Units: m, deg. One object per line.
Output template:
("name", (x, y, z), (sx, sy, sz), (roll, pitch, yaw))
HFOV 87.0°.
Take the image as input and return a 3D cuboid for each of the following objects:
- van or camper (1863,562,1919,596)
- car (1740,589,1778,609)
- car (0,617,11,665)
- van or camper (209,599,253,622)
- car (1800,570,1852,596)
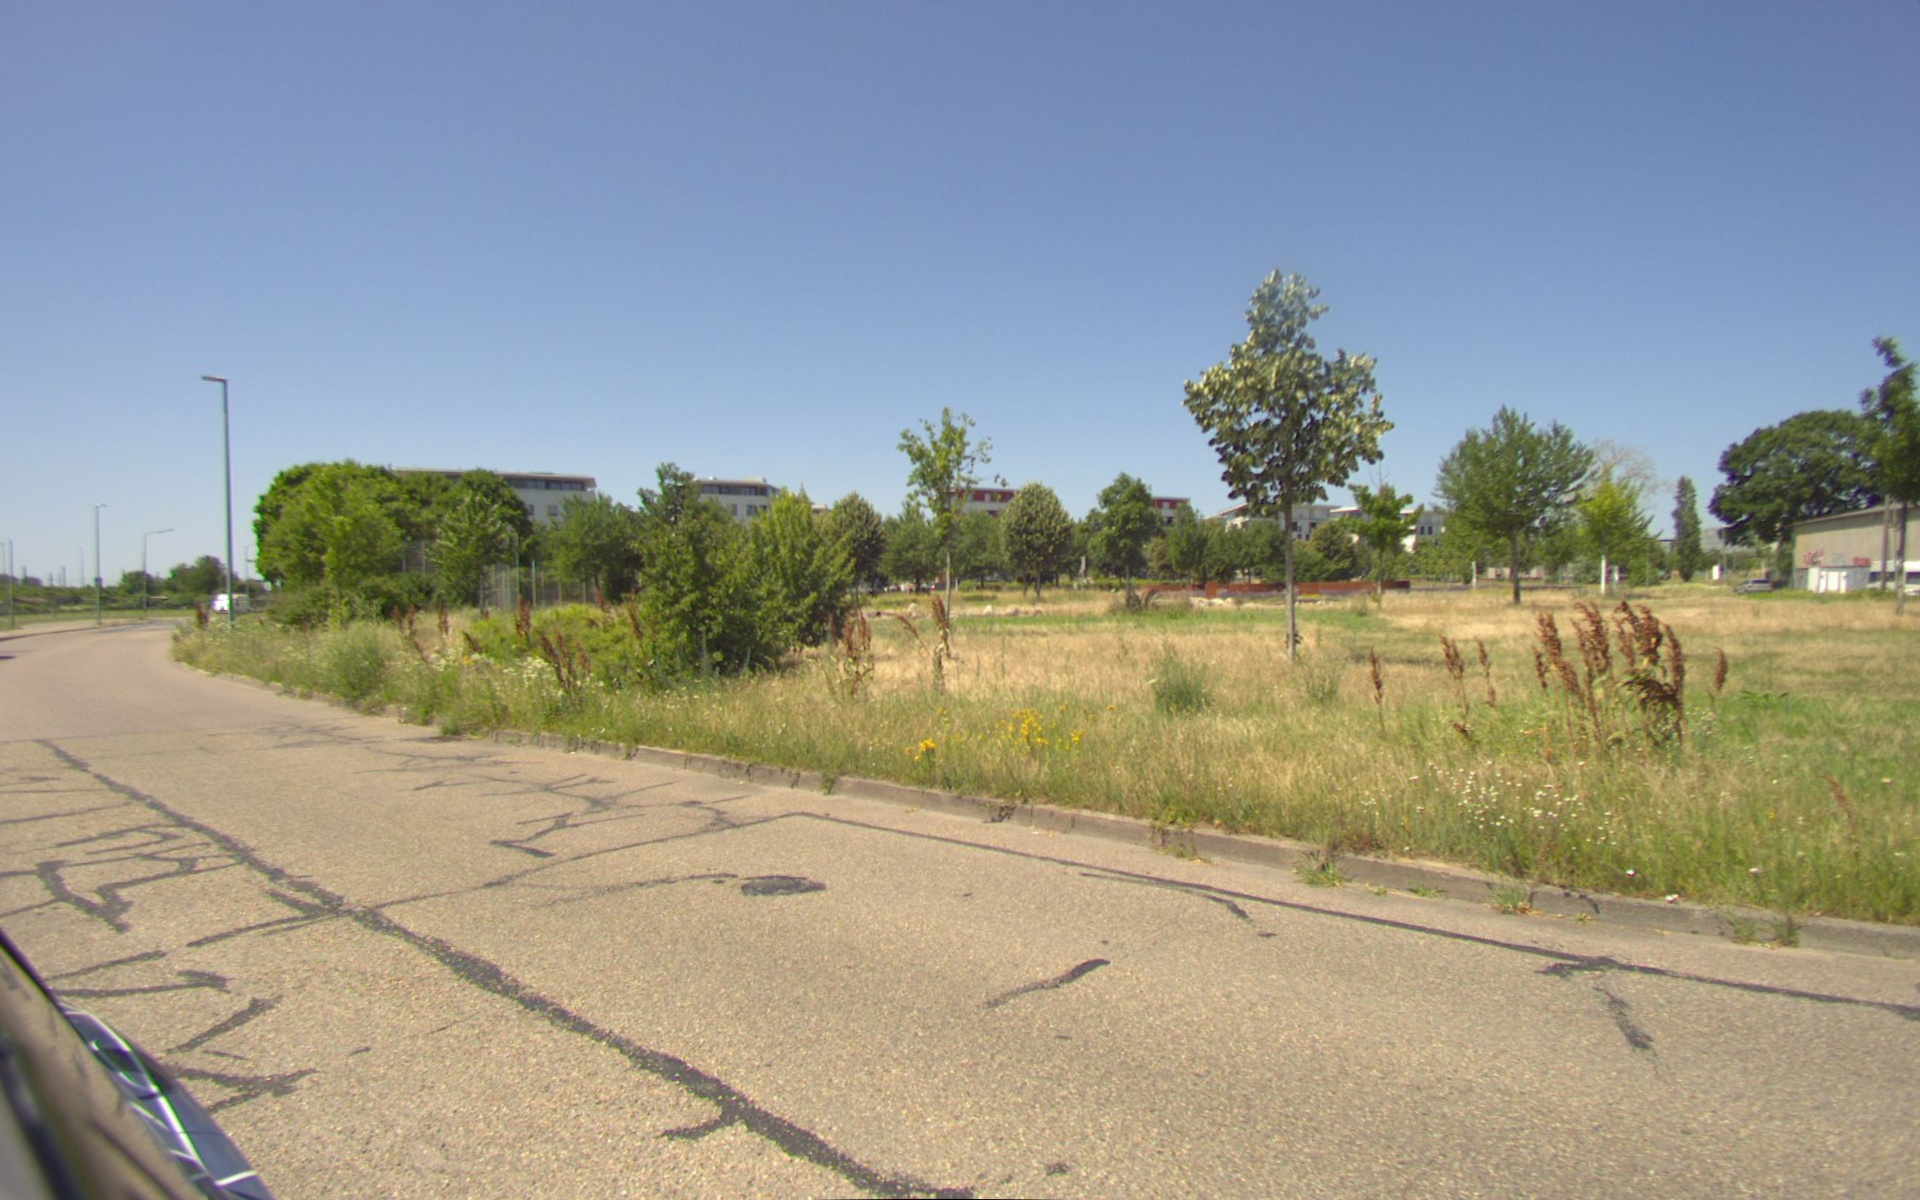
("van or camper", (55.569, -1.245, 59.347), (2.343, 1.894, 5.021), (-1, 0, 22))
("car", (67.797, -0.120, 85.876), (1.581, 1.609, 3.553), (-1, 0, 22))
("car", (-29.418, 1.256, 29.511), (1.627, 1.477, 4.172), (-1, 0, -30))
("van or camper", (-84.316, 1.223, 117.096), (2.106, 2.592, 5.883), (-1, 0, -15))
("car", (61.376, -1.218, 71.803), (1.746, 1.785, 3.553), (-1, 0, 22))
